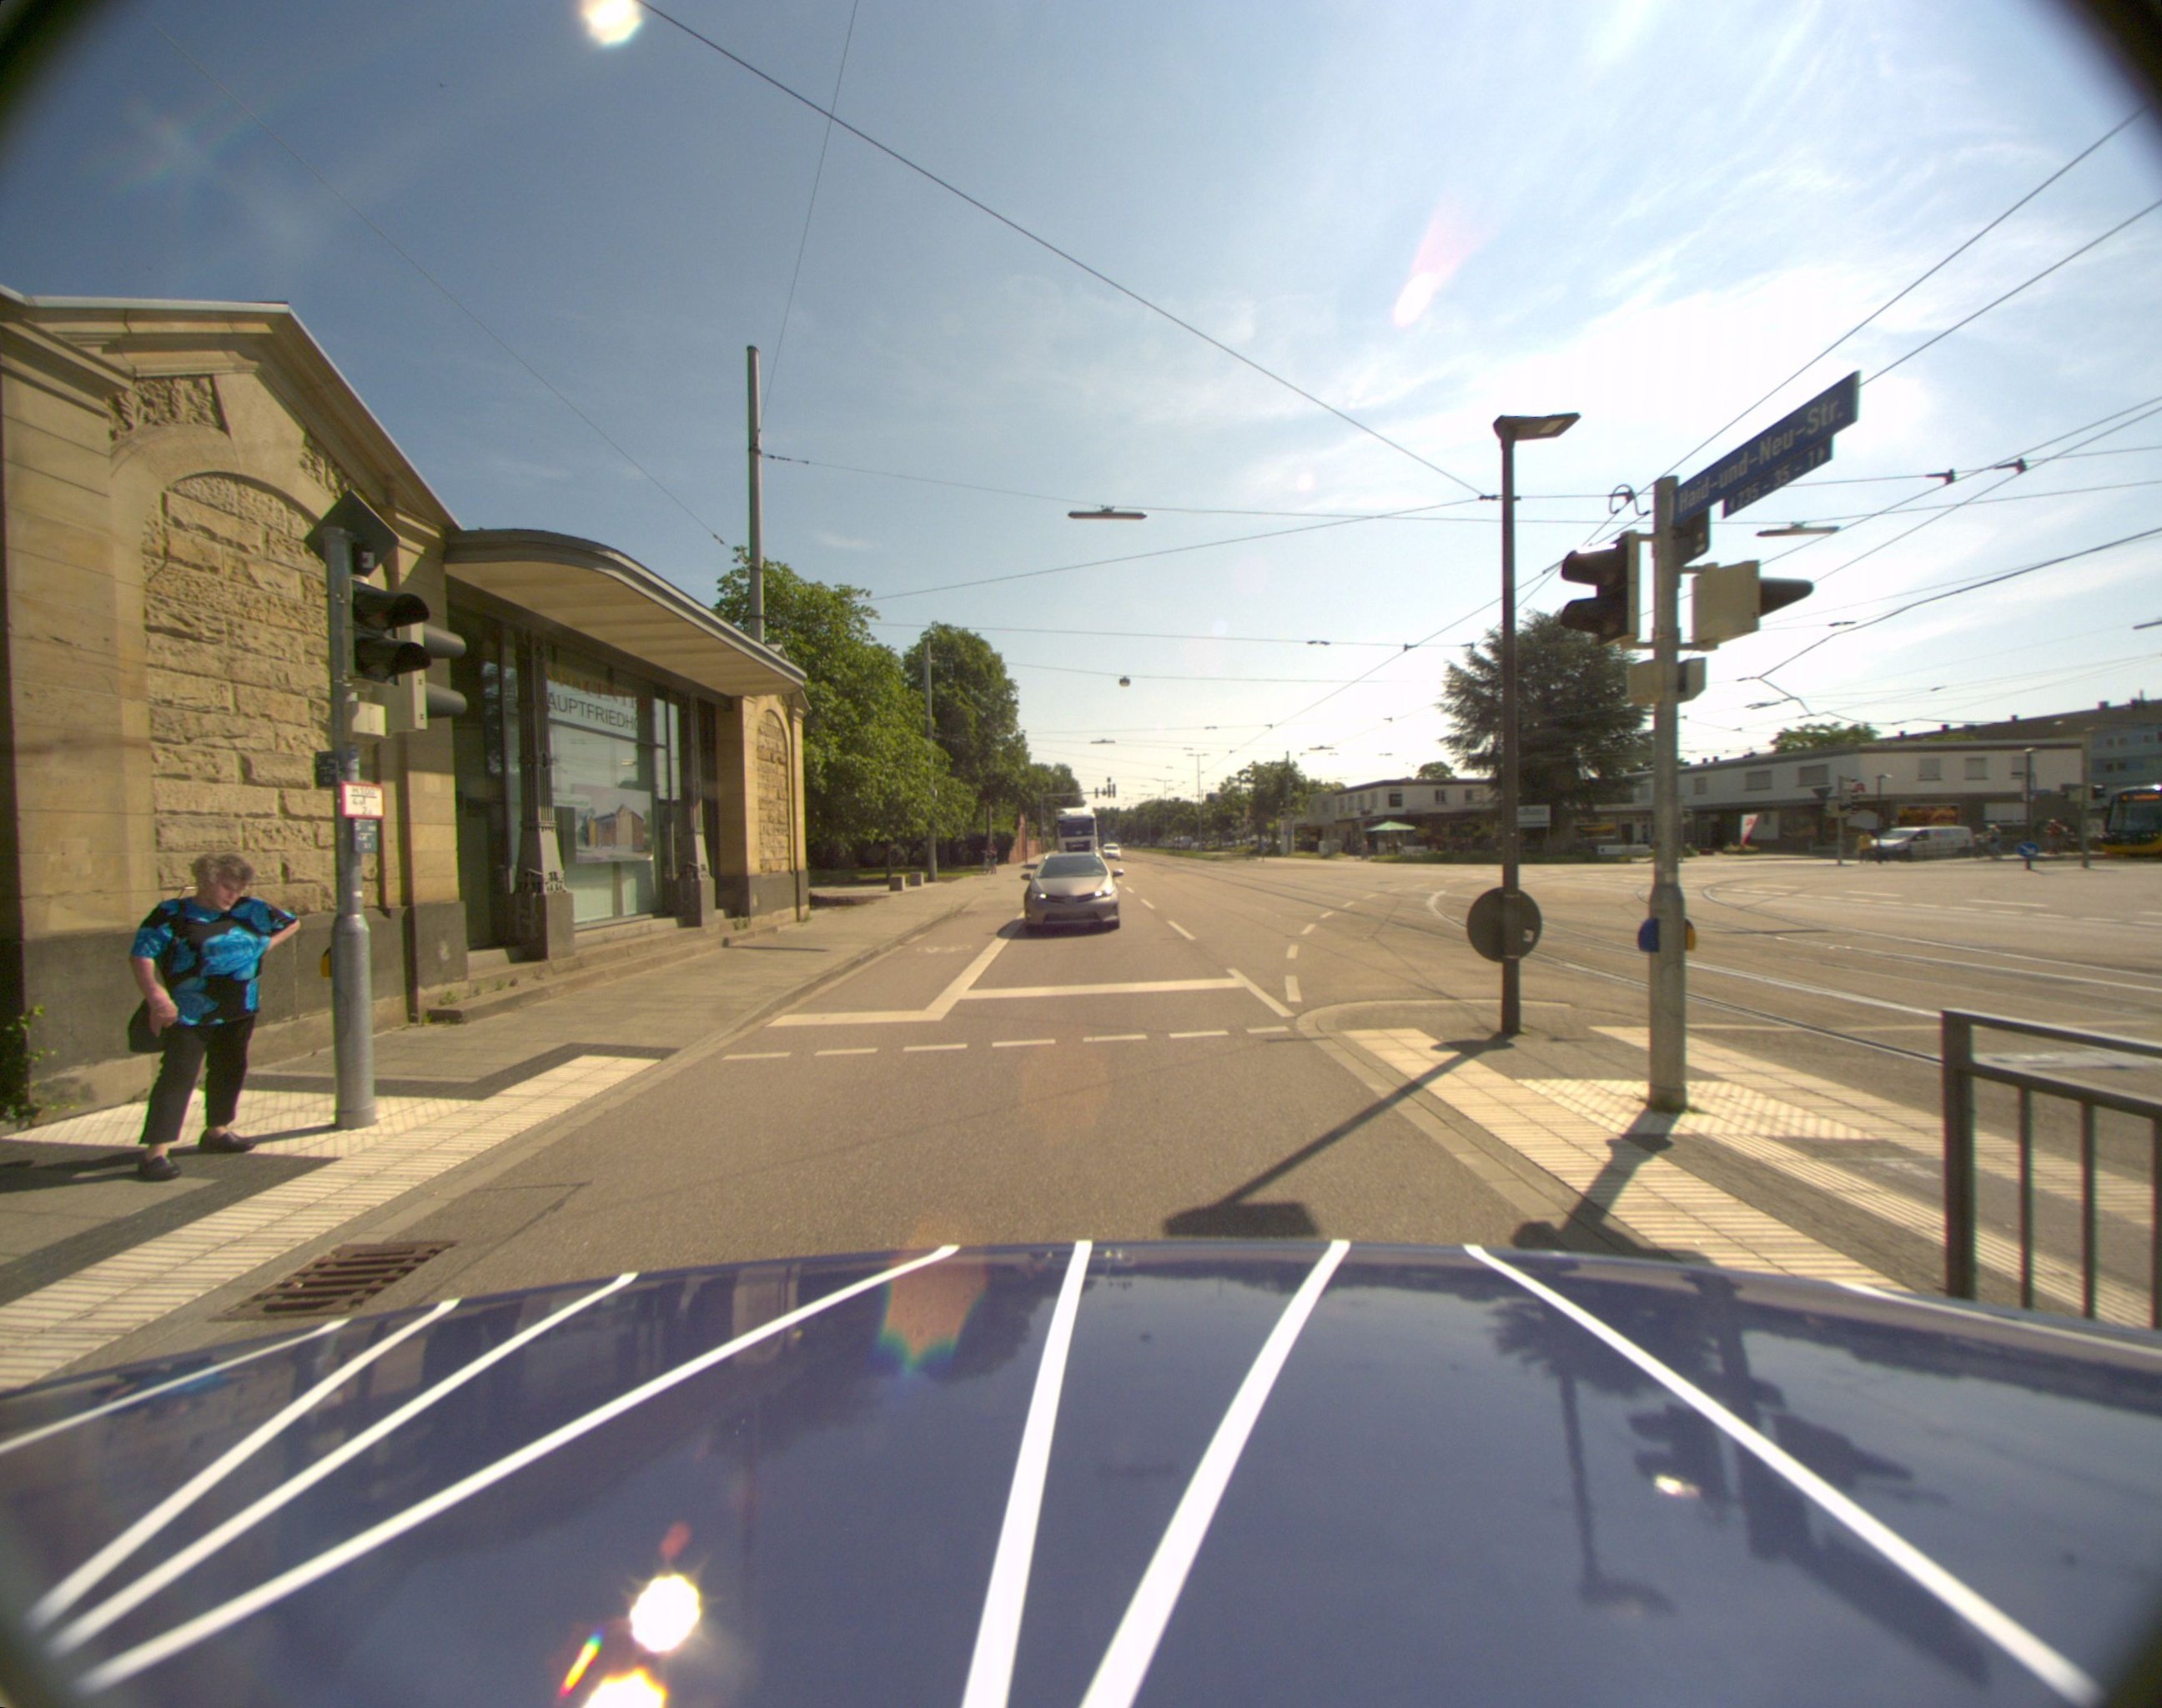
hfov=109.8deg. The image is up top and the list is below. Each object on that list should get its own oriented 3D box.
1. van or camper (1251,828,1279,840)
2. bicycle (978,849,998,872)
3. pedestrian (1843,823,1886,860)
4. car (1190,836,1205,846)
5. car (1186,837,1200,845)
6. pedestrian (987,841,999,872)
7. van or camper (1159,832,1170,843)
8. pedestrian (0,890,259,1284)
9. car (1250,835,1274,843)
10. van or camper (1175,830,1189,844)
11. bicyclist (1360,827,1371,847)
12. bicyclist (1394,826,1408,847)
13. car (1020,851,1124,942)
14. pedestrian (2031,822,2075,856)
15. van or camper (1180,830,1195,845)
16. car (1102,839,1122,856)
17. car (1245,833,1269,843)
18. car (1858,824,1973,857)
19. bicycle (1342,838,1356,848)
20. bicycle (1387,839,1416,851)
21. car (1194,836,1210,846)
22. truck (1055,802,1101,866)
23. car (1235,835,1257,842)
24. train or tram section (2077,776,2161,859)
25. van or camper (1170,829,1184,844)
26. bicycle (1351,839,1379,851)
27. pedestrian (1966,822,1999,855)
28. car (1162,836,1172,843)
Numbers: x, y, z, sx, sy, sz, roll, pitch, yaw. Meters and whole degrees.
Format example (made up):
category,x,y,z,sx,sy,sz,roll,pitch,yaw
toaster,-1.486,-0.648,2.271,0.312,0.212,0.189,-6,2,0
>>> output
category,x,y,z,sx,sy,sz,roll,pitch,yaw
van or camper,44.021,-4.727,181.963,6.081,2.715,2.299,-1,2,2
bicycle,-4.734,0.310,38.705,0.537,1.105,1.807,0,2,10
pedestrian,39.335,-0.641,38.147,1.201,1.827,0.896,-1,2,0
car,19.938,-2.231,130.243,1.893,1.551,4.284,-1,1,0
car,19.913,-2.307,135.250,1.893,1.487,4.231,-1,1,0
pedestrian,-4.477,0.116,38.676,0.542,1.540,0.663,1,2,-1
van or camper,20.096,-4.066,183.325,2.114,2.605,5.450,0,2,0
pedestrian,-4.614,0.946,3.445,0.780,1.501,0.859,-1,2,8
car,30.243,-2.516,126.998,3.624,1.354,1.711,-1,2,-2
van or camper,19.600,-3.250,147.547,2.040,2.617,4.838,-1,1,0
bicyclist,22.722,-1.366,60.667,0.764,1.549,0.632,1,2,20
bicyclist,24.910,-1.356,59.123,0.633,1.566,0.764,-2,2,-30
car,-0.144,0.729,15.477,1.743,1.424,4.461,-2,1,0
pedestrian,48.050,-0.753,37.577,1.093,1.671,0.813,-1,2,0
van or camper,19.706,-3.051,140.497,2.040,2.617,4.838,-1,1,0
car,2.854,-0.611,70.424,1.770,1.552,4.066,0,1,0
car,29.981,-2.767,129.457,3.749,1.561,1.950,-1,2,-2
car,48.214,-0.776,43.983,4.656,1.852,1.776,-1,2,0
bicycle,27.798,-1.156,78.755,0.760,0.977,1.910,-1,1,0
bicycle,24.920,-0.692,59.102,0.577,0.885,2.130,-2,2,-34
car,19.852,-2.166,124.615,1.892,1.487,4.284,-4,1,1
truck,-0.136,-1.349,51.081,2.746,3.853,9.108,1,1,0
car,31.032,-2.915,142.808,3.624,1.274,1.711,-1,1,-2
train or tram section,54.531,-1.720,34.906,13.899,3.637,2.768,-1,2,0
van or camper,19.622,-3.647,155.431,2.128,2.968,5.280,-1,1,0
bicycle,22.661,-0.716,60.644,2.131,0.941,0.536,0,2,23
pedestrian,44.710,-0.772,37.683,0.659,1.617,0.785,-1,2,0
car,20.040,-3.367,176.932,1.893,1.551,4.231,-1,1,0
